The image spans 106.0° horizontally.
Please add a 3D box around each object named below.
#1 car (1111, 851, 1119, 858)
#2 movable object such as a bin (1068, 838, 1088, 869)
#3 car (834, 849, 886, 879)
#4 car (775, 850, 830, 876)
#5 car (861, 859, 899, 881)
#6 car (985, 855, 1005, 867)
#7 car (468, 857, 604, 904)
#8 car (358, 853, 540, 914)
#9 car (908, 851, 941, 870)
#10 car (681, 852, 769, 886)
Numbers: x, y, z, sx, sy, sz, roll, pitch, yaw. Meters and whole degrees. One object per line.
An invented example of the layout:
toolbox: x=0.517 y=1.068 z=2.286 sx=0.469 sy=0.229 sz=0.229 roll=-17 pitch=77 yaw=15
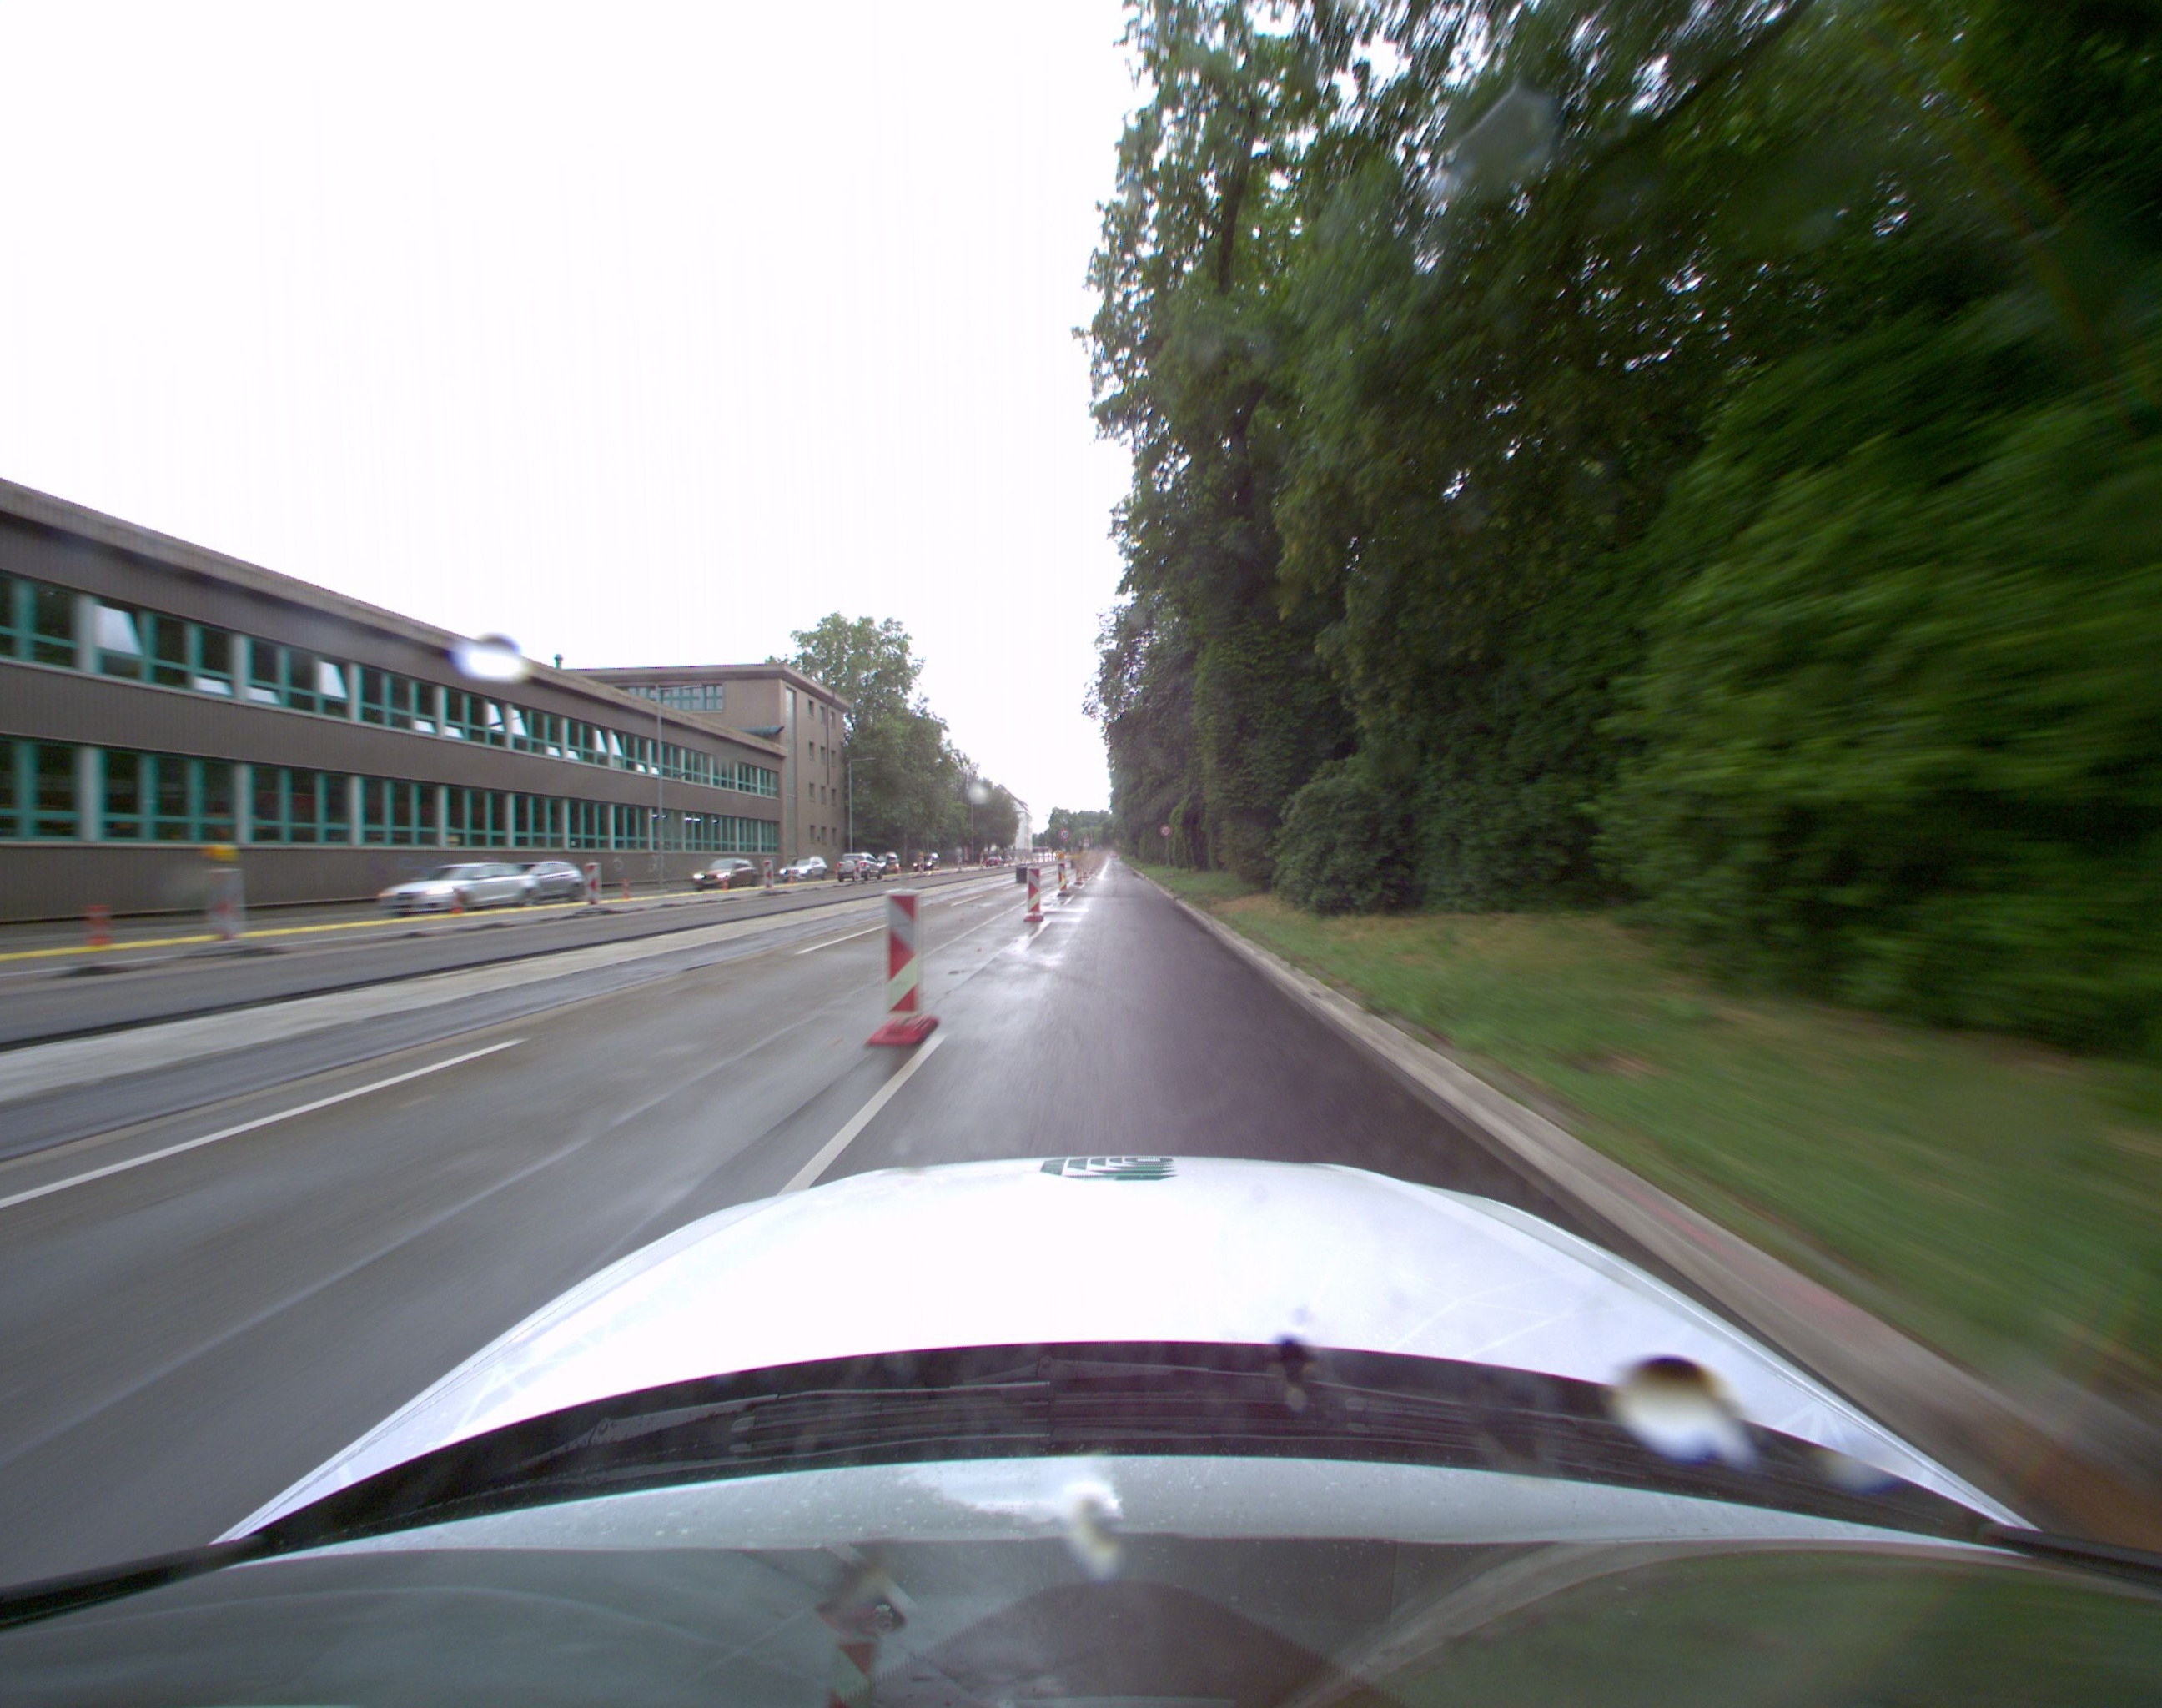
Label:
car: x=9.010 y=0.184 z=214.727 sx=1.986 sy=1.673 sz=4.002 roll=0 pitch=0 yaw=2
movable object such as a bin: x=-0.296 y=-0.003 z=91.282 sx=1.986 sy=3.367 sz=5.985 roll=0 pitch=0 yaw=2
car: x=-12.915 y=0.575 z=47.792 sx=1.847 sy=1.648 sz=4.002 roll=0 pitch=0 yaw=2
car: x=-18.665 y=0.600 z=54.830 sx=1.931 sy=1.706 sz=4.936 roll=0 pitch=0 yaw=1
car: x=-17.856 y=1.391 z=72.504 sx=1.986 sy=1.919 sz=5.365 roll=0 pitch=0 yaw=1
car: x=-10.888 y=0.892 z=102.888 sx=1.986 sy=1.519 sz=4.002 roll=0 pitch=0 yaw=2
car: x=-19.599 y=0.889 z=29.542 sx=1.986 sy=1.586 sz=4.181 roll=0 pitch=0 yaw=2
car: x=-17.245 y=0.758 z=22.498 sx=1.797 sy=1.534 sz=3.993 roll=0 pitch=0 yaw=2
car: x=-15.426 y=0.606 z=80.734 sx=1.985 sy=1.780 sz=4.960 roll=0 pitch=0 yaw=4
car: x=-16.417 y=0.673 z=37.845 sx=1.886 sy=1.502 sz=4.520 roll=0 pitch=0 yaw=4
